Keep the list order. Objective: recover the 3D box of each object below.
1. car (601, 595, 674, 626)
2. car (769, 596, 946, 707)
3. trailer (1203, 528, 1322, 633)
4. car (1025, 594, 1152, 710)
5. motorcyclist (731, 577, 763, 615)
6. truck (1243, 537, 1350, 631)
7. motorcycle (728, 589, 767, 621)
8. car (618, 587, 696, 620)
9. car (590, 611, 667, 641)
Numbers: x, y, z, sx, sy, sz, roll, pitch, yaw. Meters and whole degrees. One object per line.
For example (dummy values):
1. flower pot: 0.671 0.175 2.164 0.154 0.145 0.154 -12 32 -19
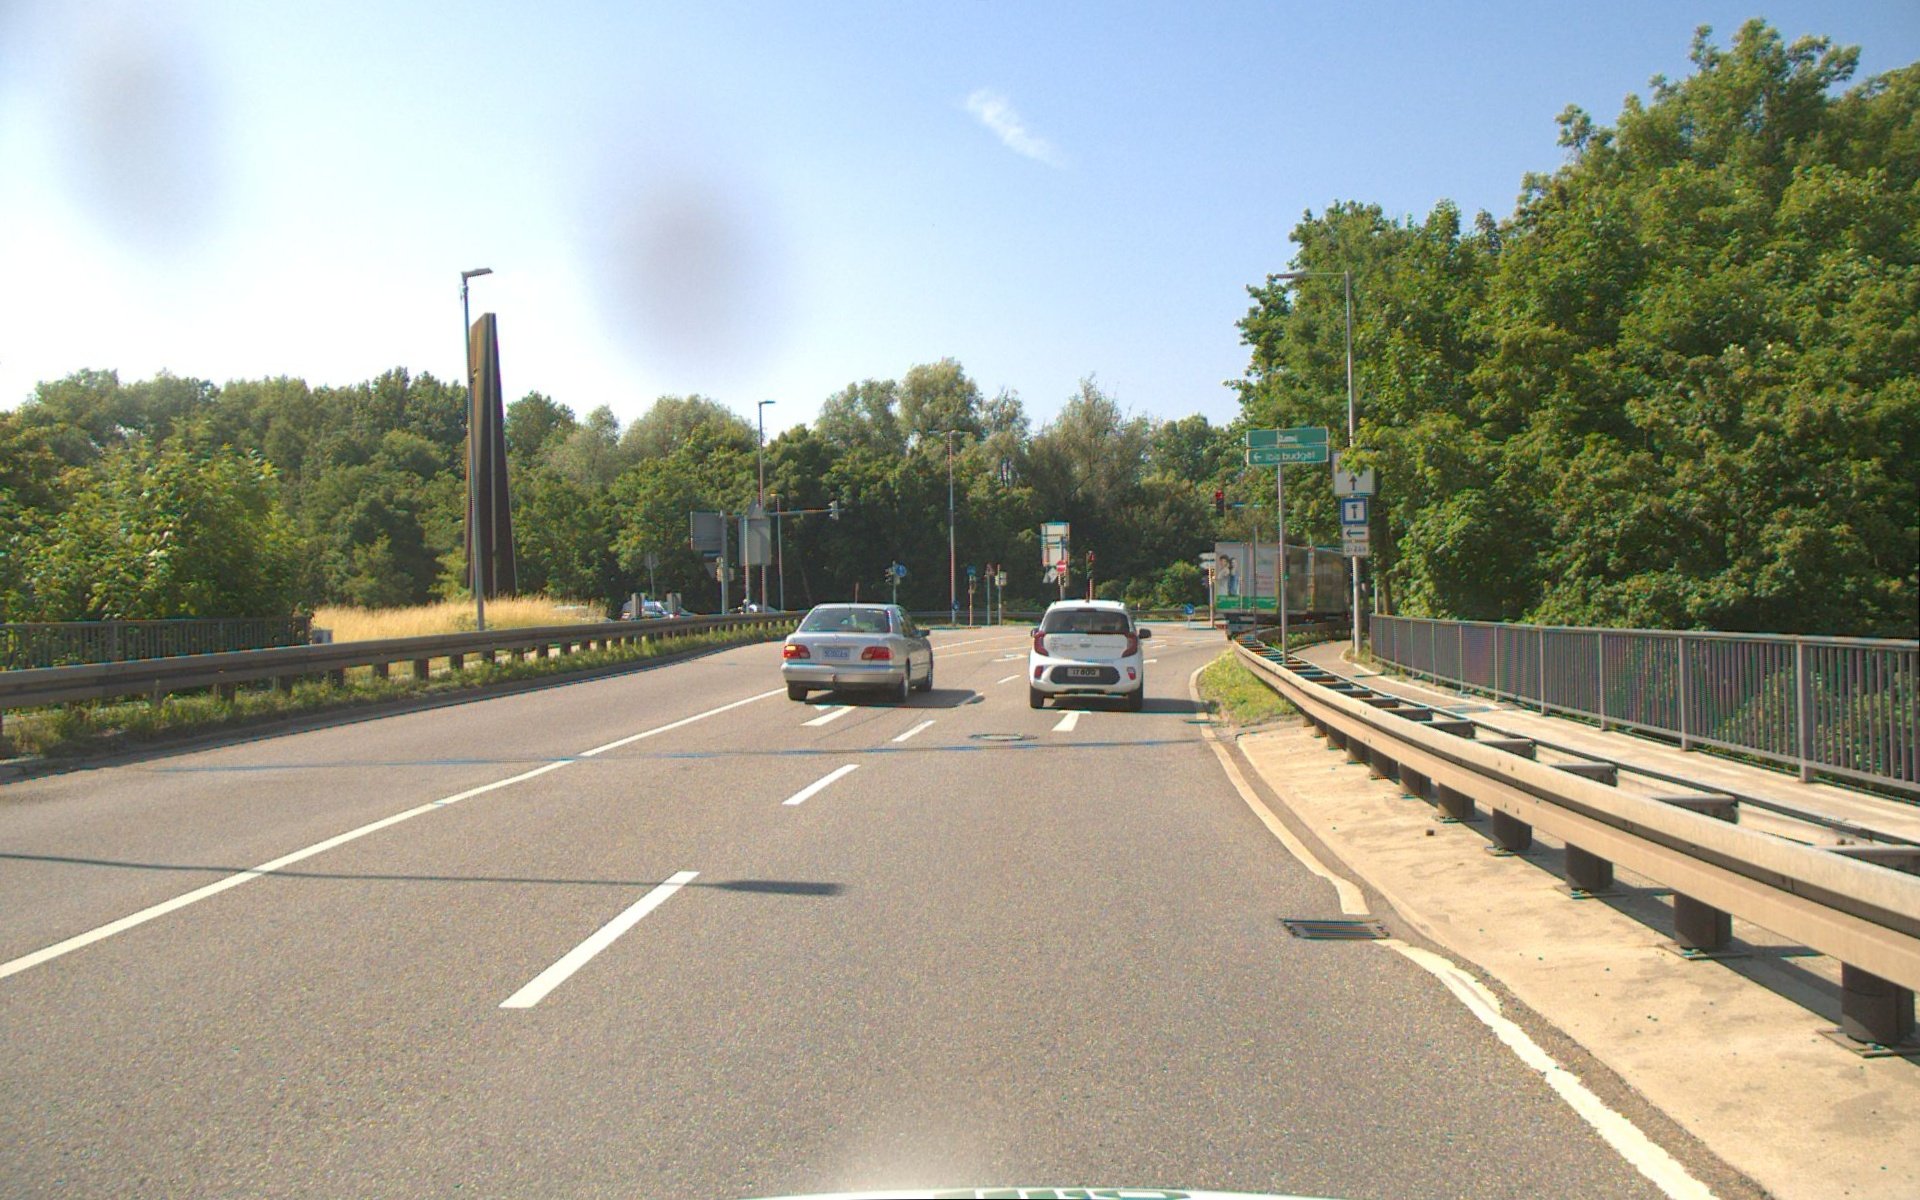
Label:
1. car: -17.558 0.594 90.057 3.921 1.413 1.760 -4 -4 37
2. car: -1.444 0.701 25.307 1.898 1.512 4.903 1 0 6
3. trailer: 12.149 -0.720 65.877 3.158 3.824 7.824 2 0 21
4. car: 1.963 0.710 24.342 1.665 1.520 4.003 1 0 7
5. motorcyclist: -11.251 -0.186 87.445 1.434 1.903 0.889 -4 -3 34
6. truck: 15.042 -0.680 73.364 3.193 3.824 8.370 2 0 21
7. motorcycle: -11.238 0.270 87.436 1.942 1.556 0.896 -5 -4 35
8. car: -15.472 0.218 84.301 3.921 1.413 1.695 -4 -4 37
9. car: -18.237 1.456 90.974 3.921 1.413 2.115 -4 -4 37
